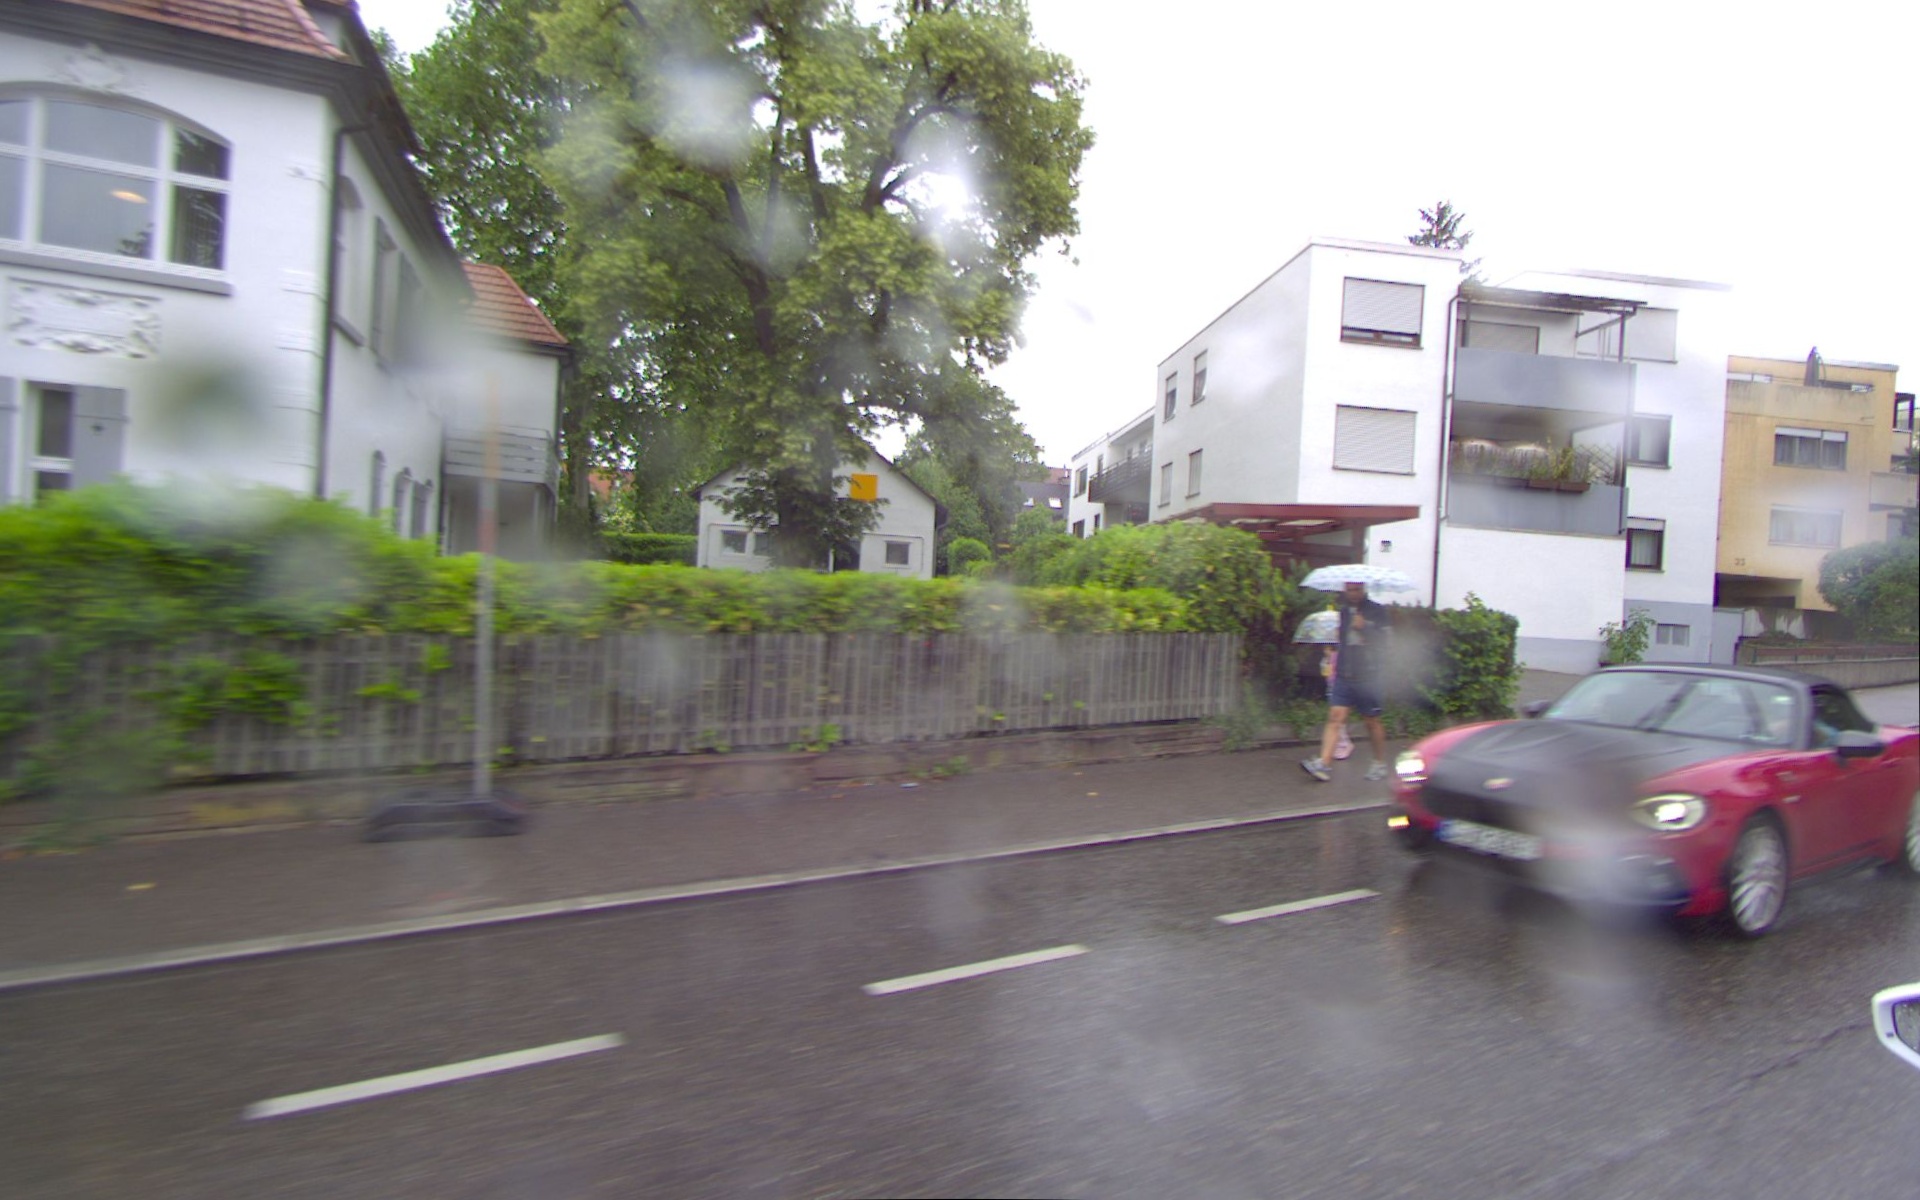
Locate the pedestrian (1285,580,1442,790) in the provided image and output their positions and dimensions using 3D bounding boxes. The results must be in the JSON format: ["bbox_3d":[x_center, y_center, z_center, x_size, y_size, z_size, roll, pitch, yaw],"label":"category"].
[{"bbox_3d":[3.438,0.684,8.580,1.027,1.666,0.752,1,0,-30],"label":"pedestrian"}]

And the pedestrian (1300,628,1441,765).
[{"bbox_3d":[3.888,0.881,9.521,1.027,1.195,0.752,1,0,-30],"label":"pedestrian"}]

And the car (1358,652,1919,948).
[{"bbox_3d":[4.388,0.947,6.062,3.955,1.161,1.670,1,0,-32],"label":"car"}]
